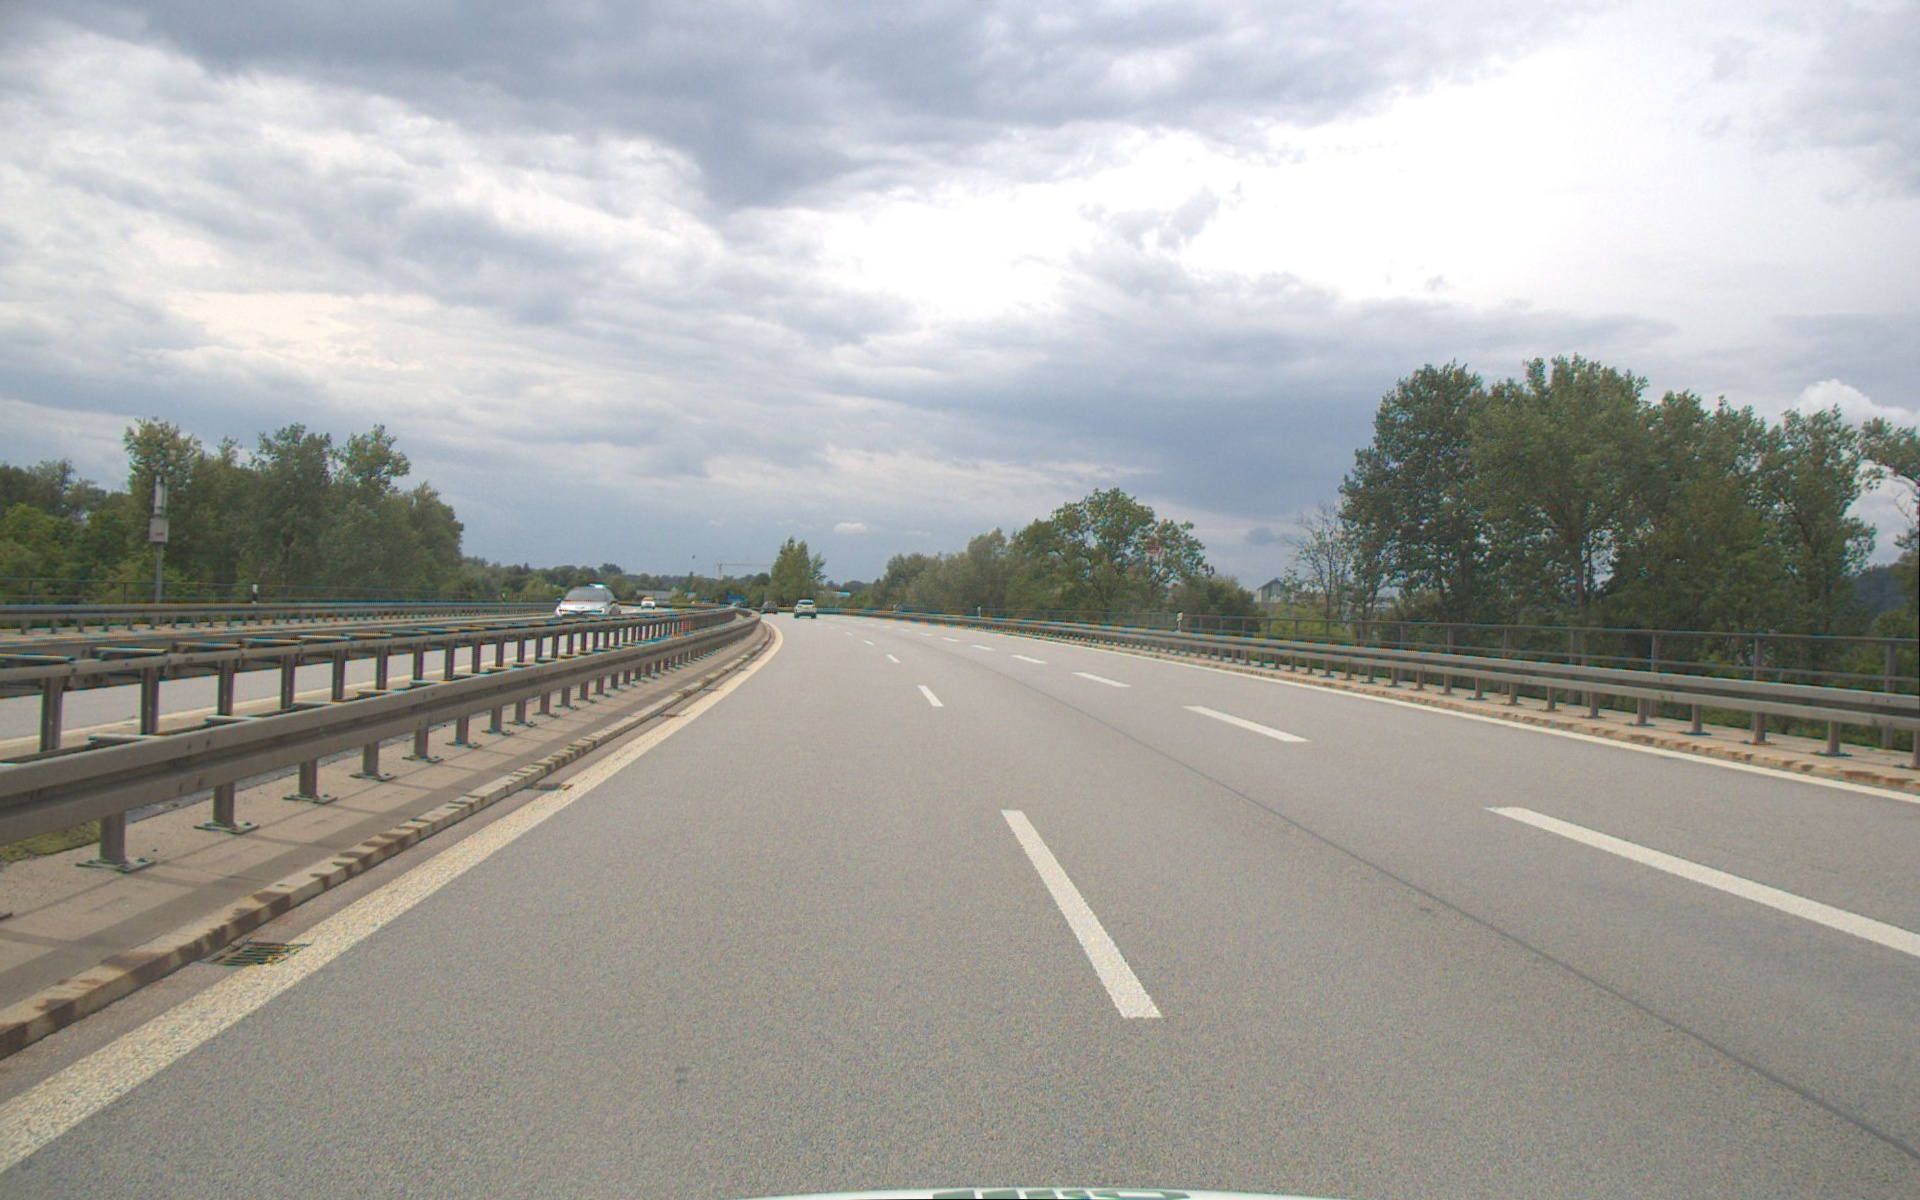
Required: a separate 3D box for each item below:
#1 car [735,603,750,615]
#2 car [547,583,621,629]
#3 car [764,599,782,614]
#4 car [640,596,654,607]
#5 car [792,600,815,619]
[{"bbox_3d":[-31.502,1.305,239.429,1.868,1.668,4.767,1,-1,-10],"label":"car"},{"bbox_3d":[-12.467,0.188,55.054,1.737,1.411,4.384,1,0,-4],"label":"car"},{"bbox_3d":[-22.426,0.788,198.570,1.858,1.668,4.611,2,0,-10],"label":"car"},{"bbox_3d":[-39.310,0.187,207.596,1.502,1.431,4.321,2,0,-8],"label":"car"},{"bbox_3d":[-14.501,0.902,152.983,1.867,1.668,4.386,2,0,-9],"label":"car"}]
